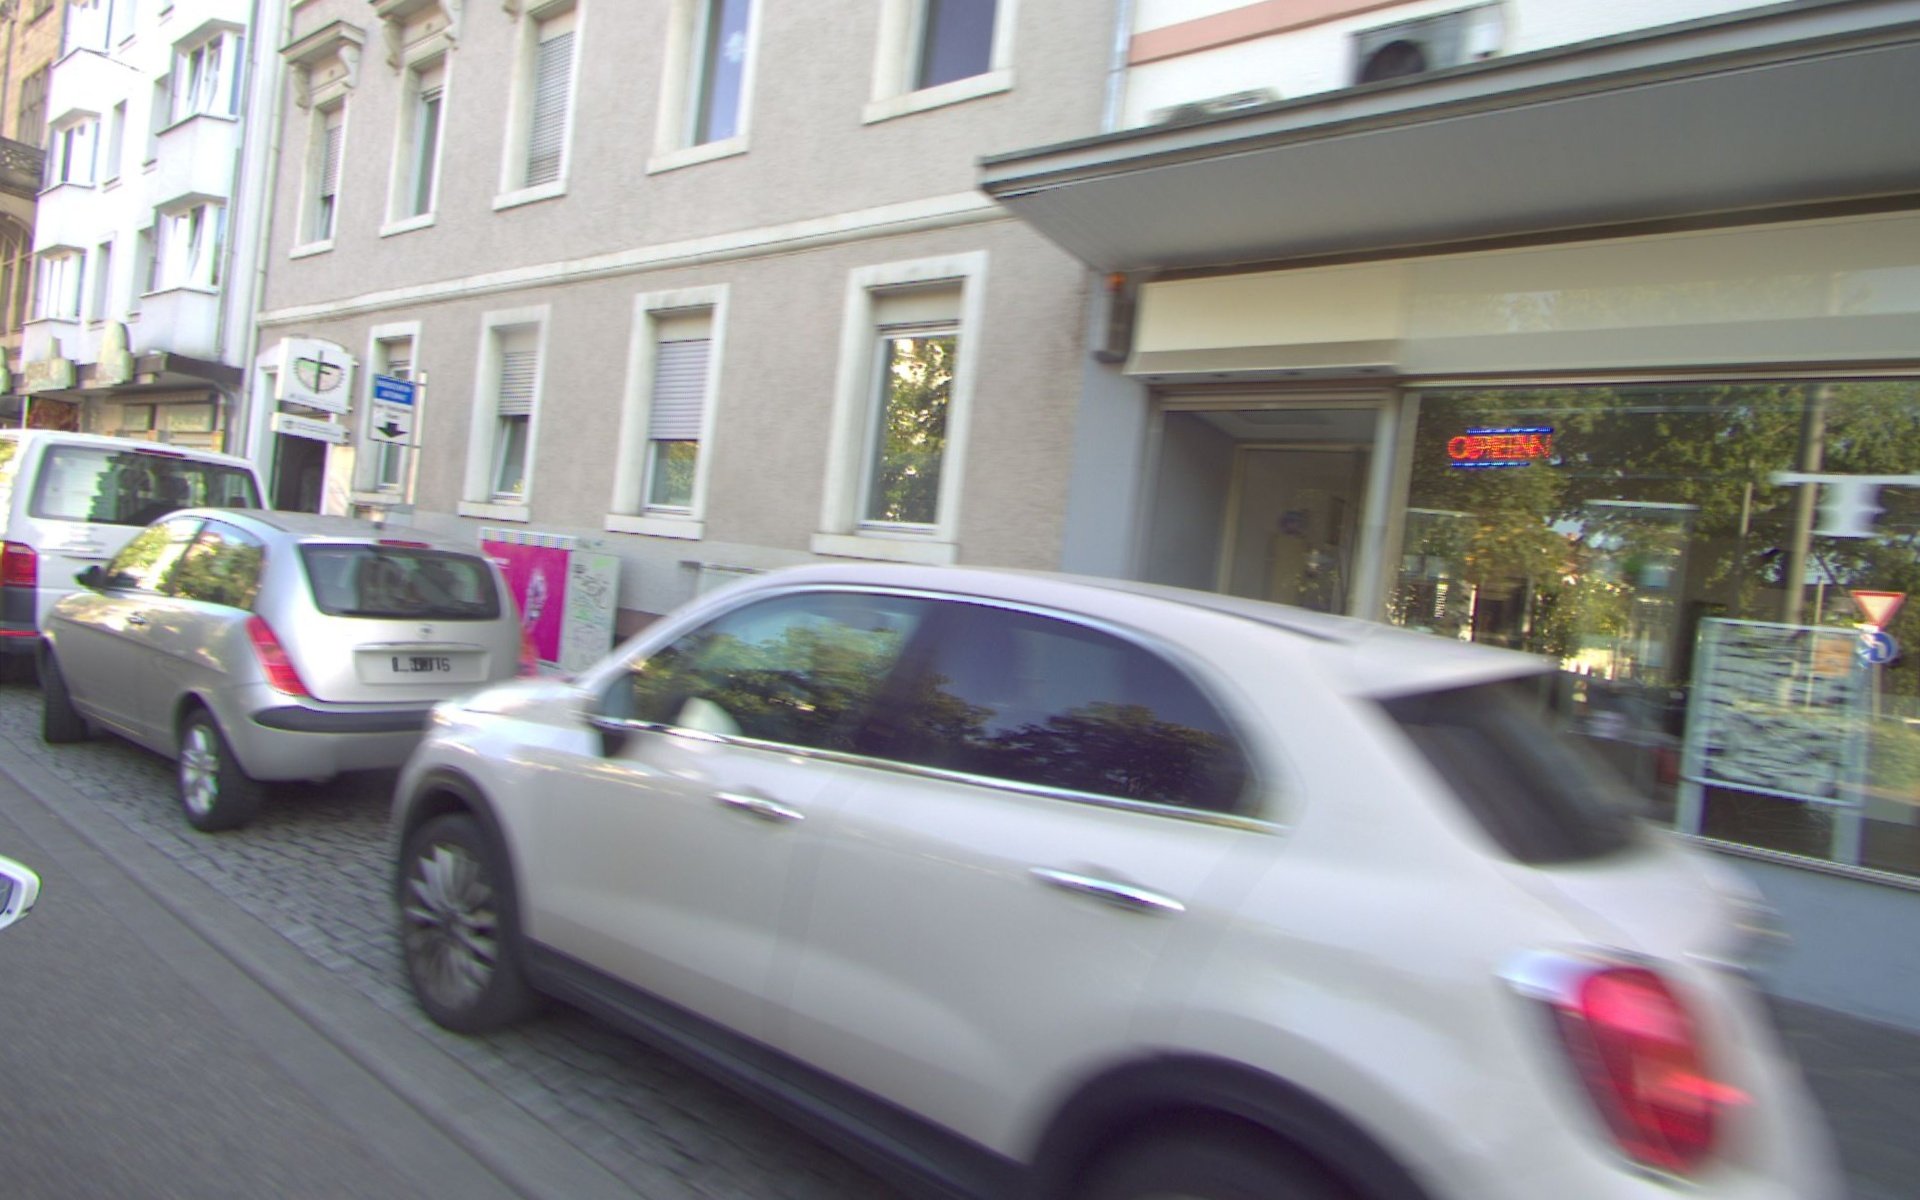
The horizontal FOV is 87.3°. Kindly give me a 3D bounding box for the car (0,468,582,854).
[{"bbox_3d":[-4.152,0.192,6.009,3.699,1.623,1.699,5,-1,37],"label":"car"}]

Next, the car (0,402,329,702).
[{"bbox_3d":[-8.000,-0.489,9.022,5.036,2.029,1.995,7,0,35],"label":"car"}]

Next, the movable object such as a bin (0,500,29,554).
[{"bbox_3d":[-21.958,-1.702,22.911,0.816,1.136,0.877,6,-2,36],"label":"movable object such as a bin"}]

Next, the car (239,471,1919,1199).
[{"bbox_3d":[-0.136,0.661,3.063,4.884,1.759,1.747,5,-2,36],"label":"car"}]
